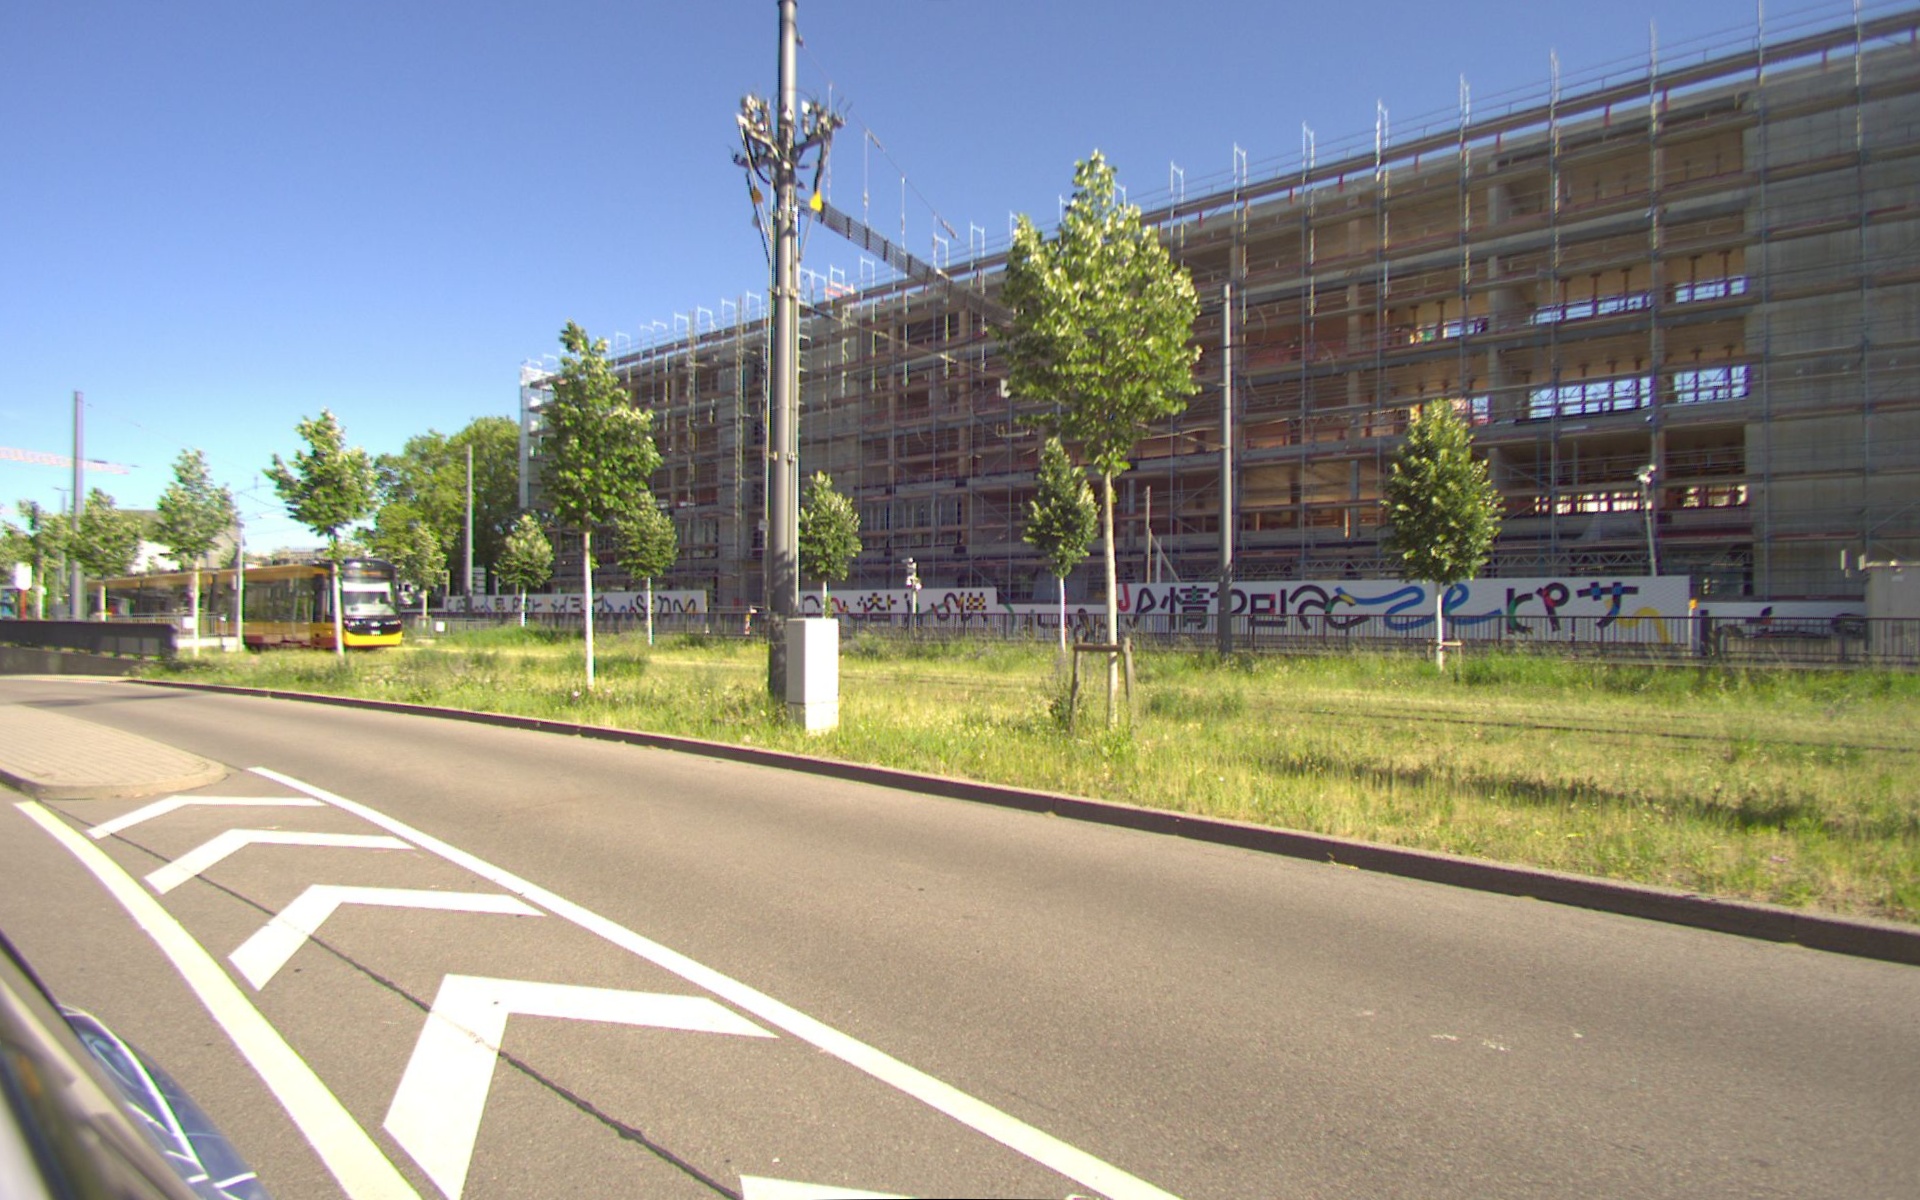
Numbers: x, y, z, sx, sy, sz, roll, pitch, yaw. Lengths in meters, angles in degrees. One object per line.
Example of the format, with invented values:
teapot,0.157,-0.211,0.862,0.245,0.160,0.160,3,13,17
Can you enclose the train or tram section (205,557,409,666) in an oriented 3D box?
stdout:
train or tram section,-25.689,0.444,39.368,12.774,3.666,2.788,0,-1,39

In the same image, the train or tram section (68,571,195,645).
train or tram section,-45.582,0.460,55.446,12.774,3.666,2.788,0,-1,39

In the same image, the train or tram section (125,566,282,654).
train or tram section,-35.653,0.473,47.410,12.774,3.666,2.788,0,-1,39
